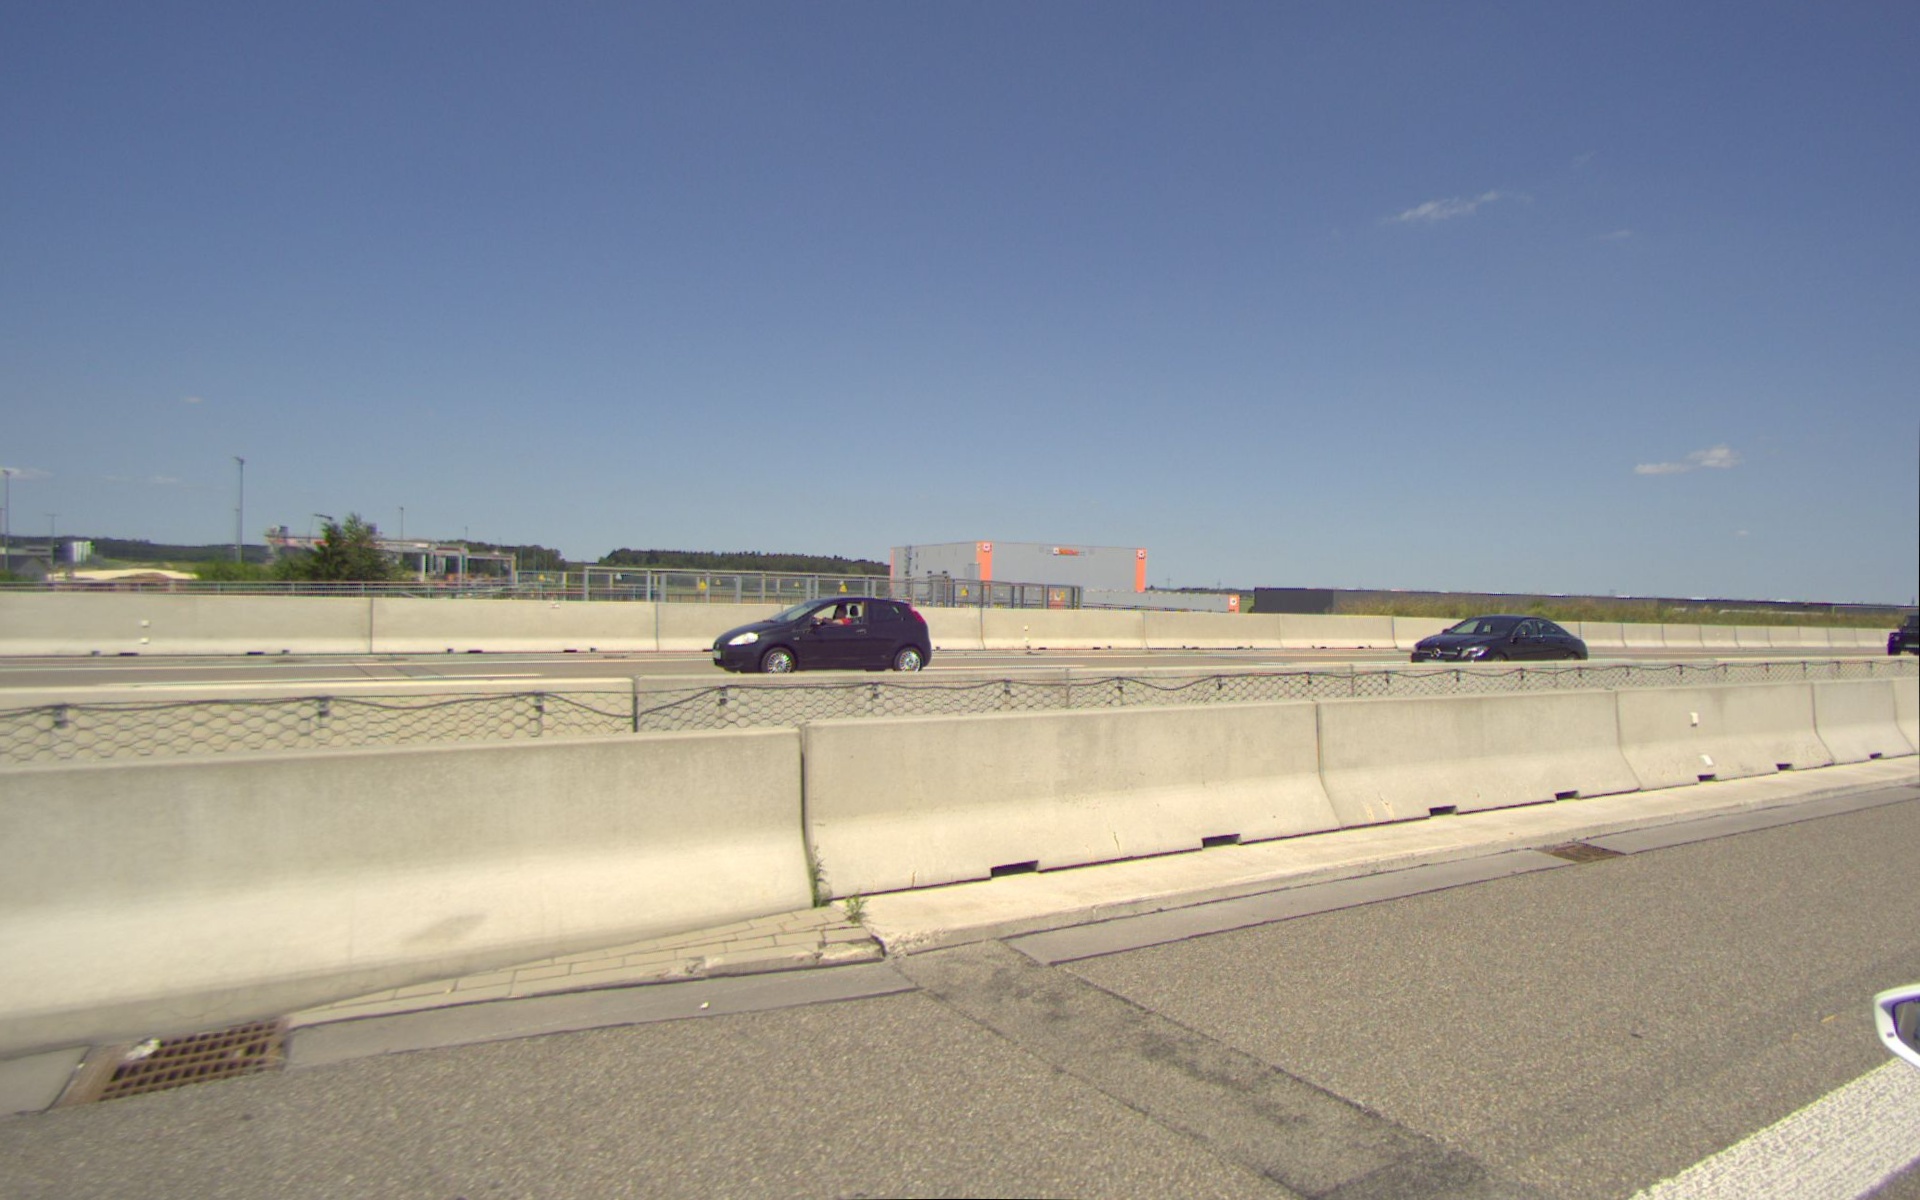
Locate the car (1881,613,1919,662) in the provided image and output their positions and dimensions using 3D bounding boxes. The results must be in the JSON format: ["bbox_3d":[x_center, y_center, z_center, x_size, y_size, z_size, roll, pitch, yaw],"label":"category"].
[{"bbox_3d":[42.350,1.638,43.768,4.676,2.044,1.877,1,0,-29],"label":"car"}]

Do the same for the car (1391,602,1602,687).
[{"bbox_3d":[11.846,0.927,22.125,4.594,1.691,1.984,1,0,-30],"label":"car"}]

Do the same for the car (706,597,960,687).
[{"bbox_3d":[-2.294,0.726,18.437,4.235,1.478,1.900,1,0,-31],"label":"car"}]
